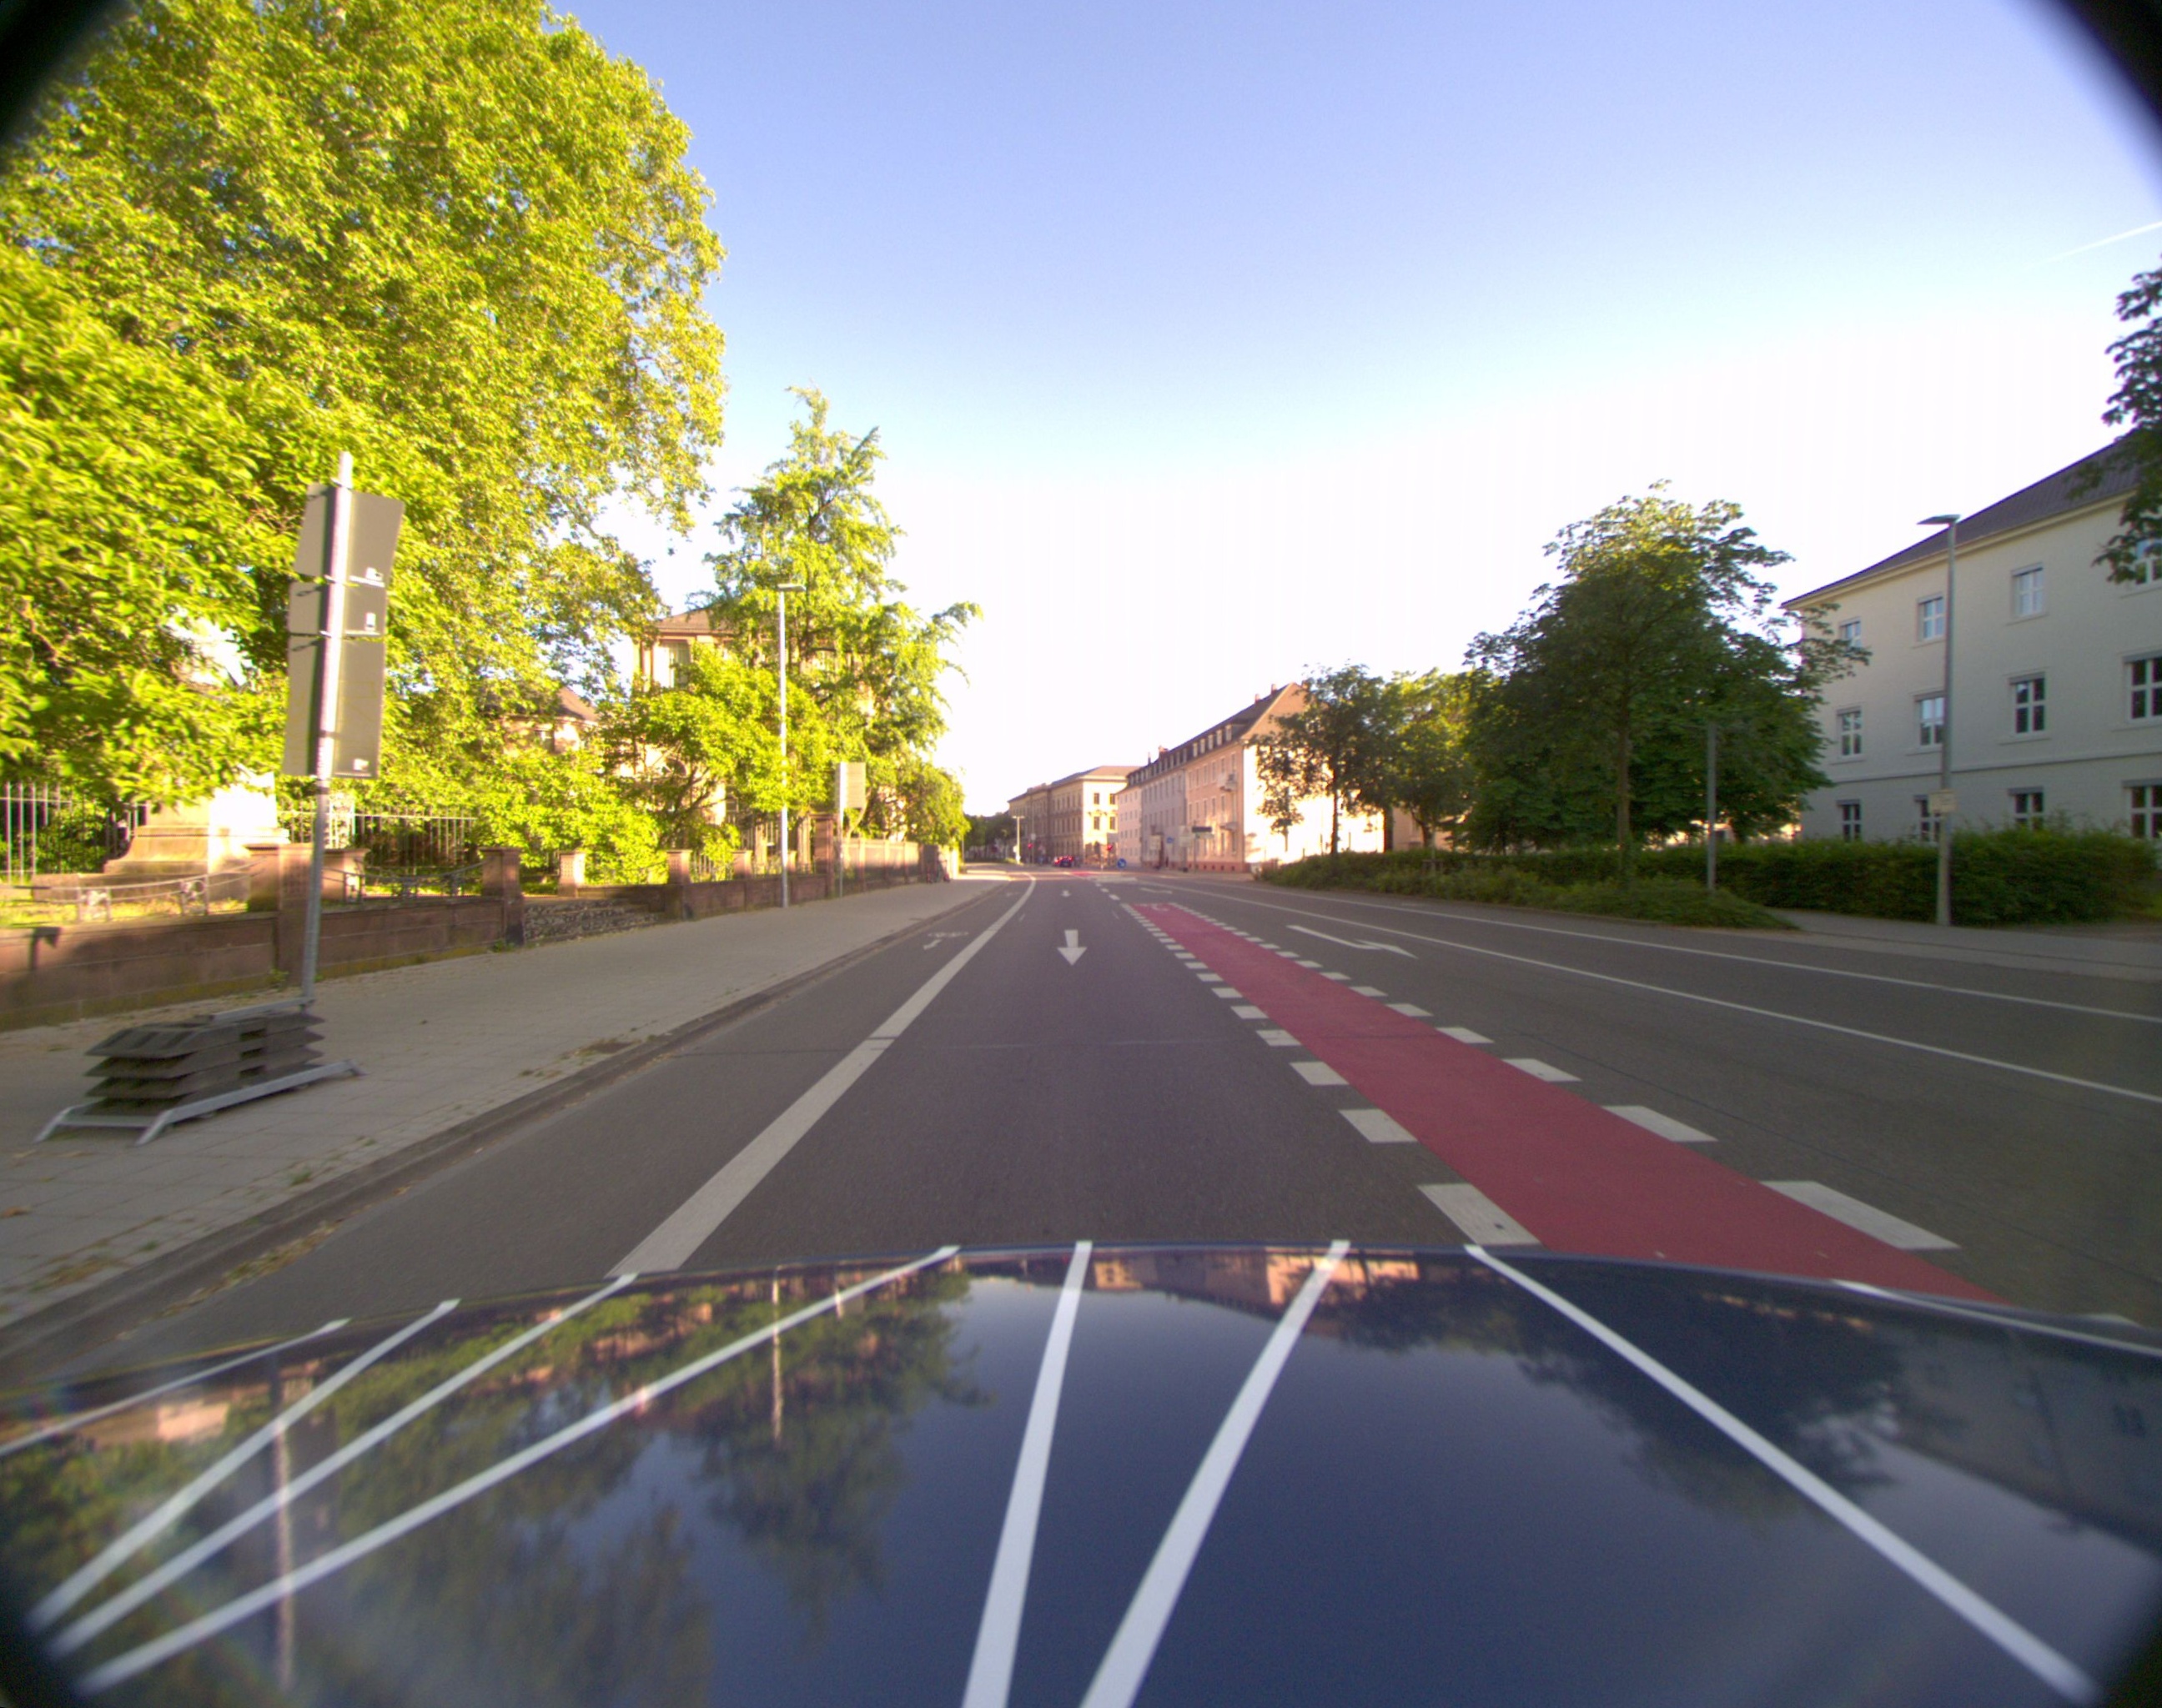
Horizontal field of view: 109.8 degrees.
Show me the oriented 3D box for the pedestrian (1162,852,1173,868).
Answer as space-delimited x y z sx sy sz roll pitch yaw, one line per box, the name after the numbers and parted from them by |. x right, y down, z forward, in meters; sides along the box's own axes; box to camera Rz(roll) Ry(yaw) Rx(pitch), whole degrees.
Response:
10.020 0.690 87.854 0.949 1.894 1.062 -2 1 -7 | pedestrian

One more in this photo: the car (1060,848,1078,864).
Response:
-1.585 0.225 99.510 1.999 2.002 3.998 0 0 -6 | car

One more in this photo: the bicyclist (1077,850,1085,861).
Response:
-0.048 0.174 107.333 1.026 1.481 0.870 0 1 -9 | bicyclist

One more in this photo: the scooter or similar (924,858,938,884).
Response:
-7.532 0.849 38.210 0.577 1.246 1.485 0 1 -15 | scooter or similar

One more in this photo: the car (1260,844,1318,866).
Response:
16.658 0.089 60.942 4.000 1.652 1.998 -2 1 -9 | car

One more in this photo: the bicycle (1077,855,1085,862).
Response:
-0.040 0.680 107.257 0.663 0.907 2.861 0 0 -9 | bicycle

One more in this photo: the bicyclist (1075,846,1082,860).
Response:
-0.374 -0.177 112.498 0.956 2.002 1.307 0 1 -9 | bicyclist

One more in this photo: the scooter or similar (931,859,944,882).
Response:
-7.547 0.853 40.063 0.576 1.177 1.486 0 0 -7 | scooter or similar

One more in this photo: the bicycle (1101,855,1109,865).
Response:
2.899 0.706 91.717 0.697 1.152 2.245 1 0 -3 | bicycle

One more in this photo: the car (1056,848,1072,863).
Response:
-2.409 0.199 105.384 1.999 2.002 3.998 0 0 -5 | car

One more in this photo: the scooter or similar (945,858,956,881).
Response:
-7.075 0.837 41.145 0.517 1.233 1.521 0 0 -11 | scooter or similar

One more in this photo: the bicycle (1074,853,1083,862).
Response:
-0.415 0.504 112.472 0.956 1.216 2.776 0 0 -9 | bicycle

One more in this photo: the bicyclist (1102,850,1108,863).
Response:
2.900 0.243 91.766 0.691 1.553 0.838 1 1 -3 | bicyclist
